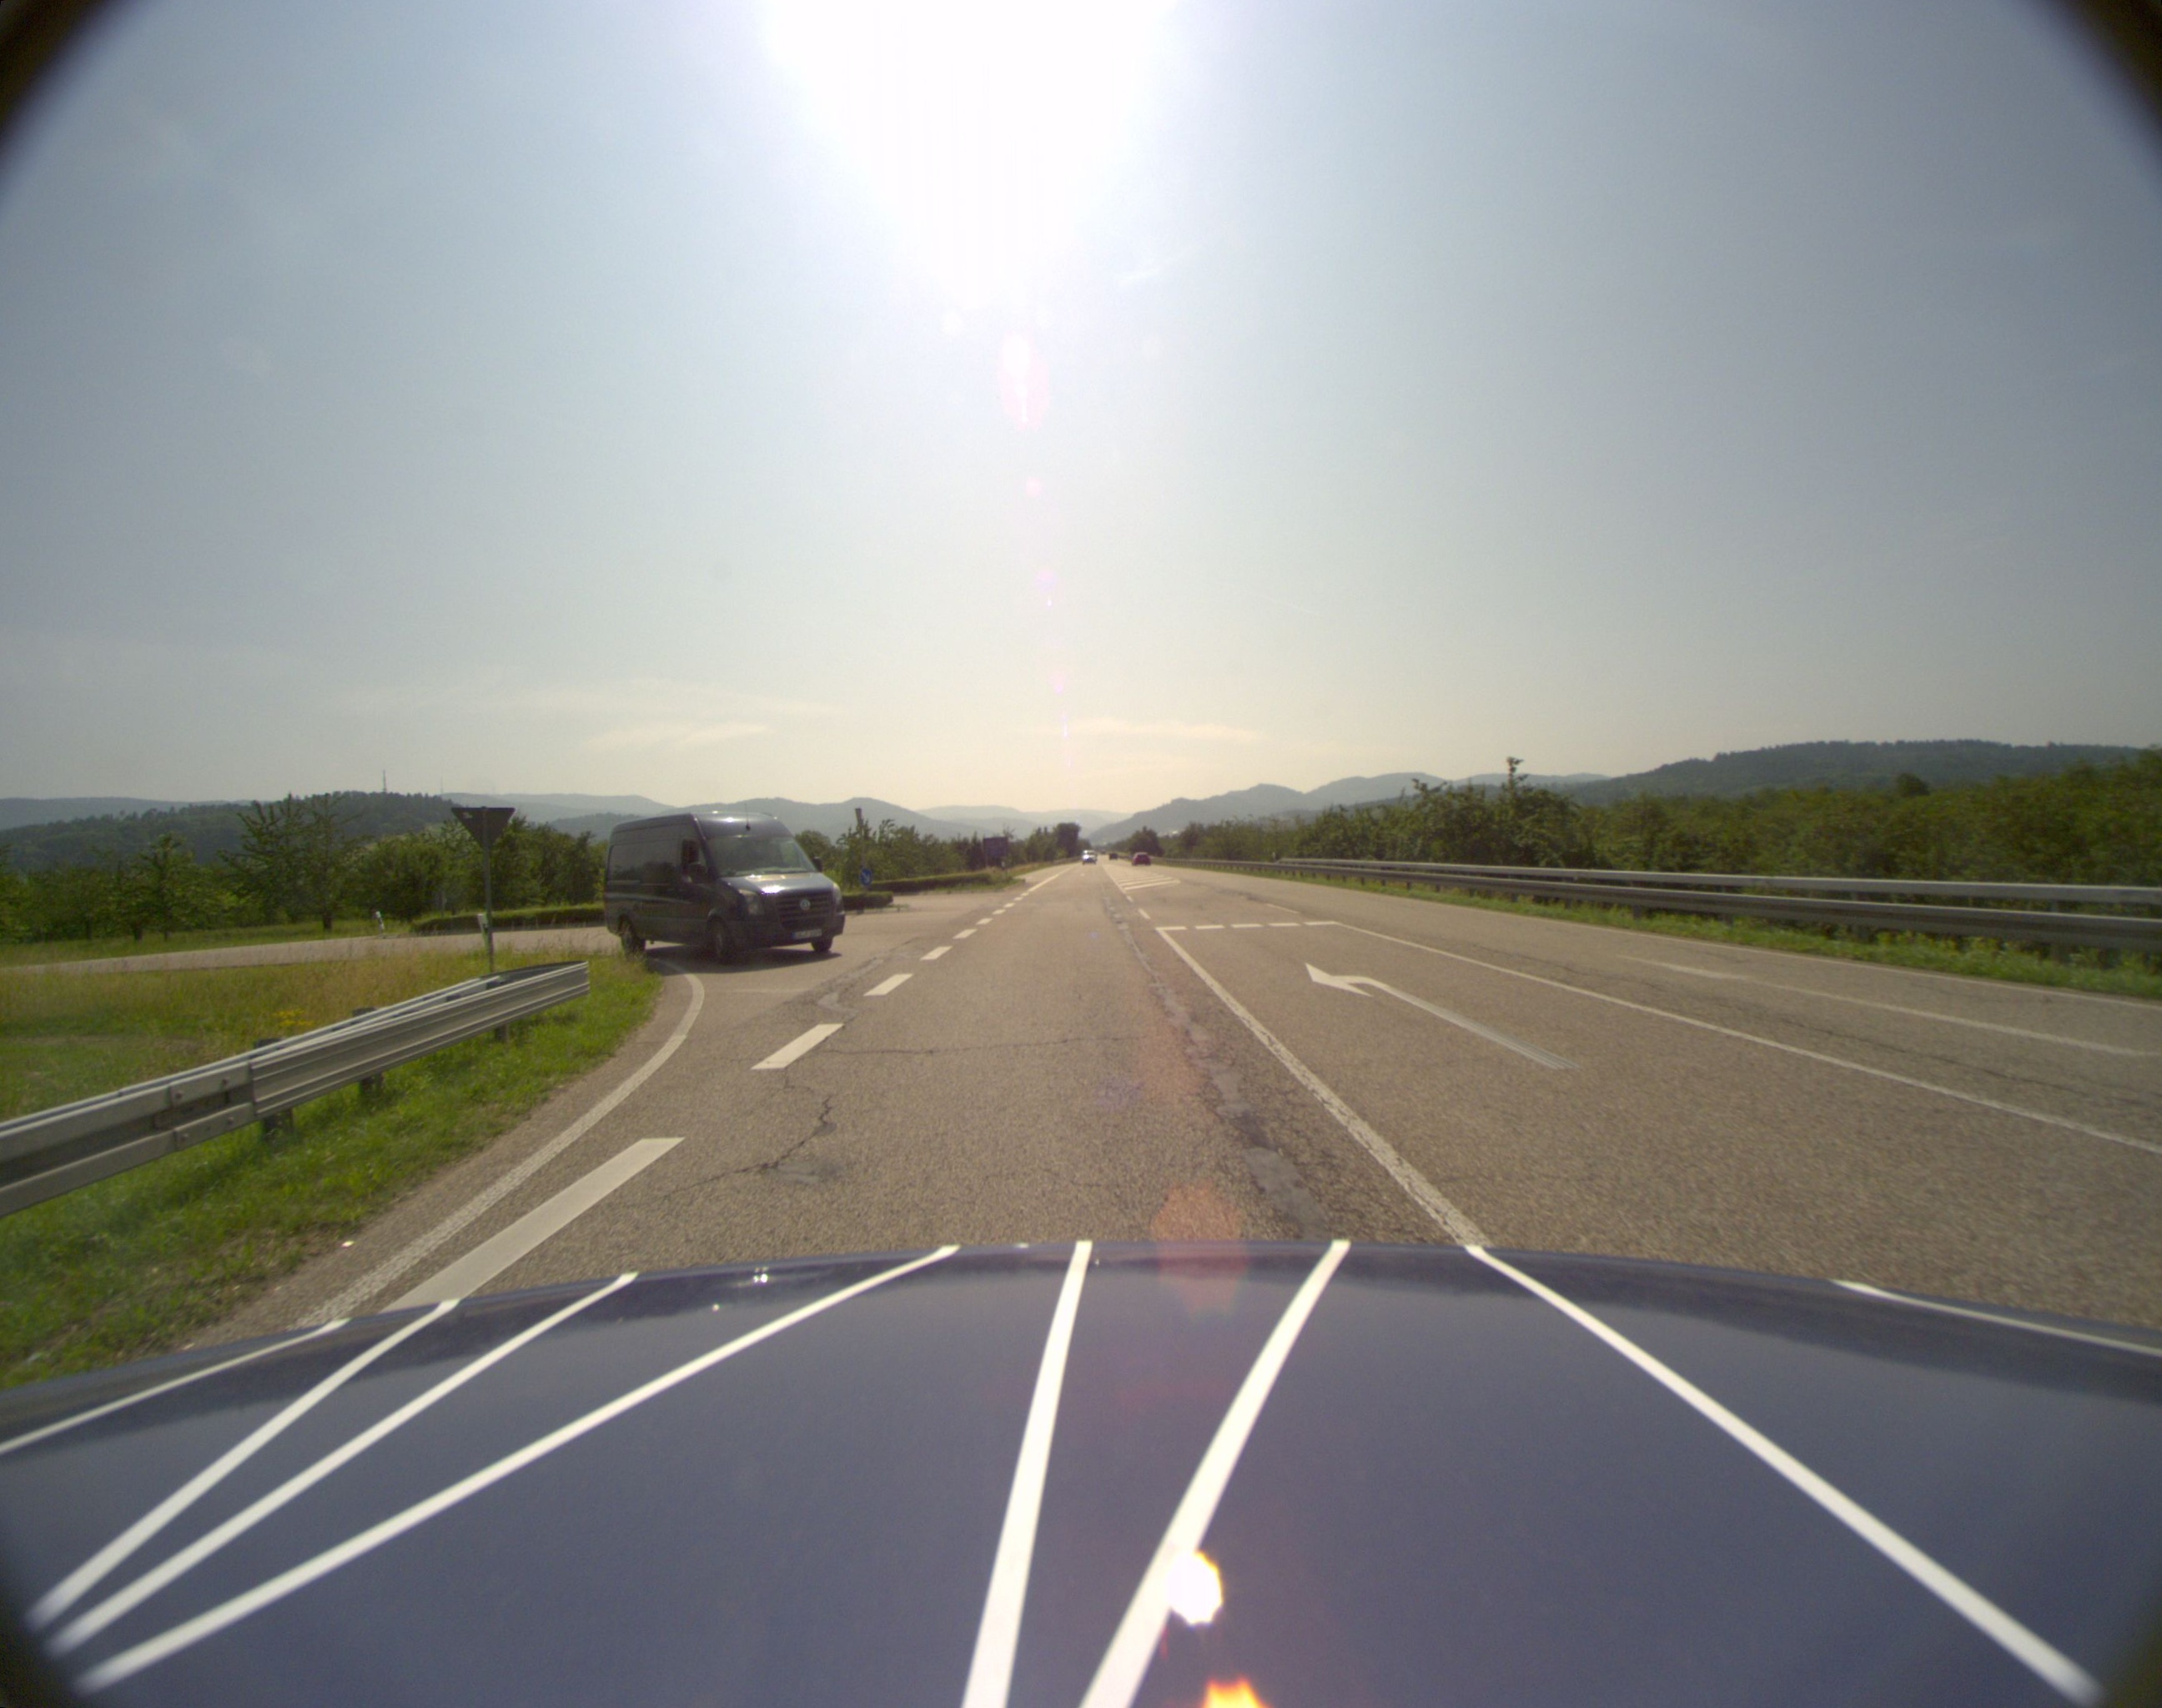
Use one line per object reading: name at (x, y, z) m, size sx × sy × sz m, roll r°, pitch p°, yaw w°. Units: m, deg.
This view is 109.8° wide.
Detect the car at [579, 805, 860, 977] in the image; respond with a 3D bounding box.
car at (-6.914, 0.648, 14.070) m, size 6.295 × 2.560 × 2.066 m, roll -3°, pitch 0°, yaw 39°

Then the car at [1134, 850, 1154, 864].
car at (7.051, 0.295, 85.649) m, size 1.820 × 1.441 × 4.494 m, roll -2°, pitch 1°, yaw 0°

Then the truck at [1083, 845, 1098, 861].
truck at (1.365, -0.170, 108.954) m, size 2.032 × 2.233 × 4.764 m, roll -2°, pitch 1°, yaw 1°

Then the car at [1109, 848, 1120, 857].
car at (6.922, -0.291, 156.955) m, size 1.808 × 1.628 × 4.808 m, roll -2°, pitch 1°, yaw 0°
